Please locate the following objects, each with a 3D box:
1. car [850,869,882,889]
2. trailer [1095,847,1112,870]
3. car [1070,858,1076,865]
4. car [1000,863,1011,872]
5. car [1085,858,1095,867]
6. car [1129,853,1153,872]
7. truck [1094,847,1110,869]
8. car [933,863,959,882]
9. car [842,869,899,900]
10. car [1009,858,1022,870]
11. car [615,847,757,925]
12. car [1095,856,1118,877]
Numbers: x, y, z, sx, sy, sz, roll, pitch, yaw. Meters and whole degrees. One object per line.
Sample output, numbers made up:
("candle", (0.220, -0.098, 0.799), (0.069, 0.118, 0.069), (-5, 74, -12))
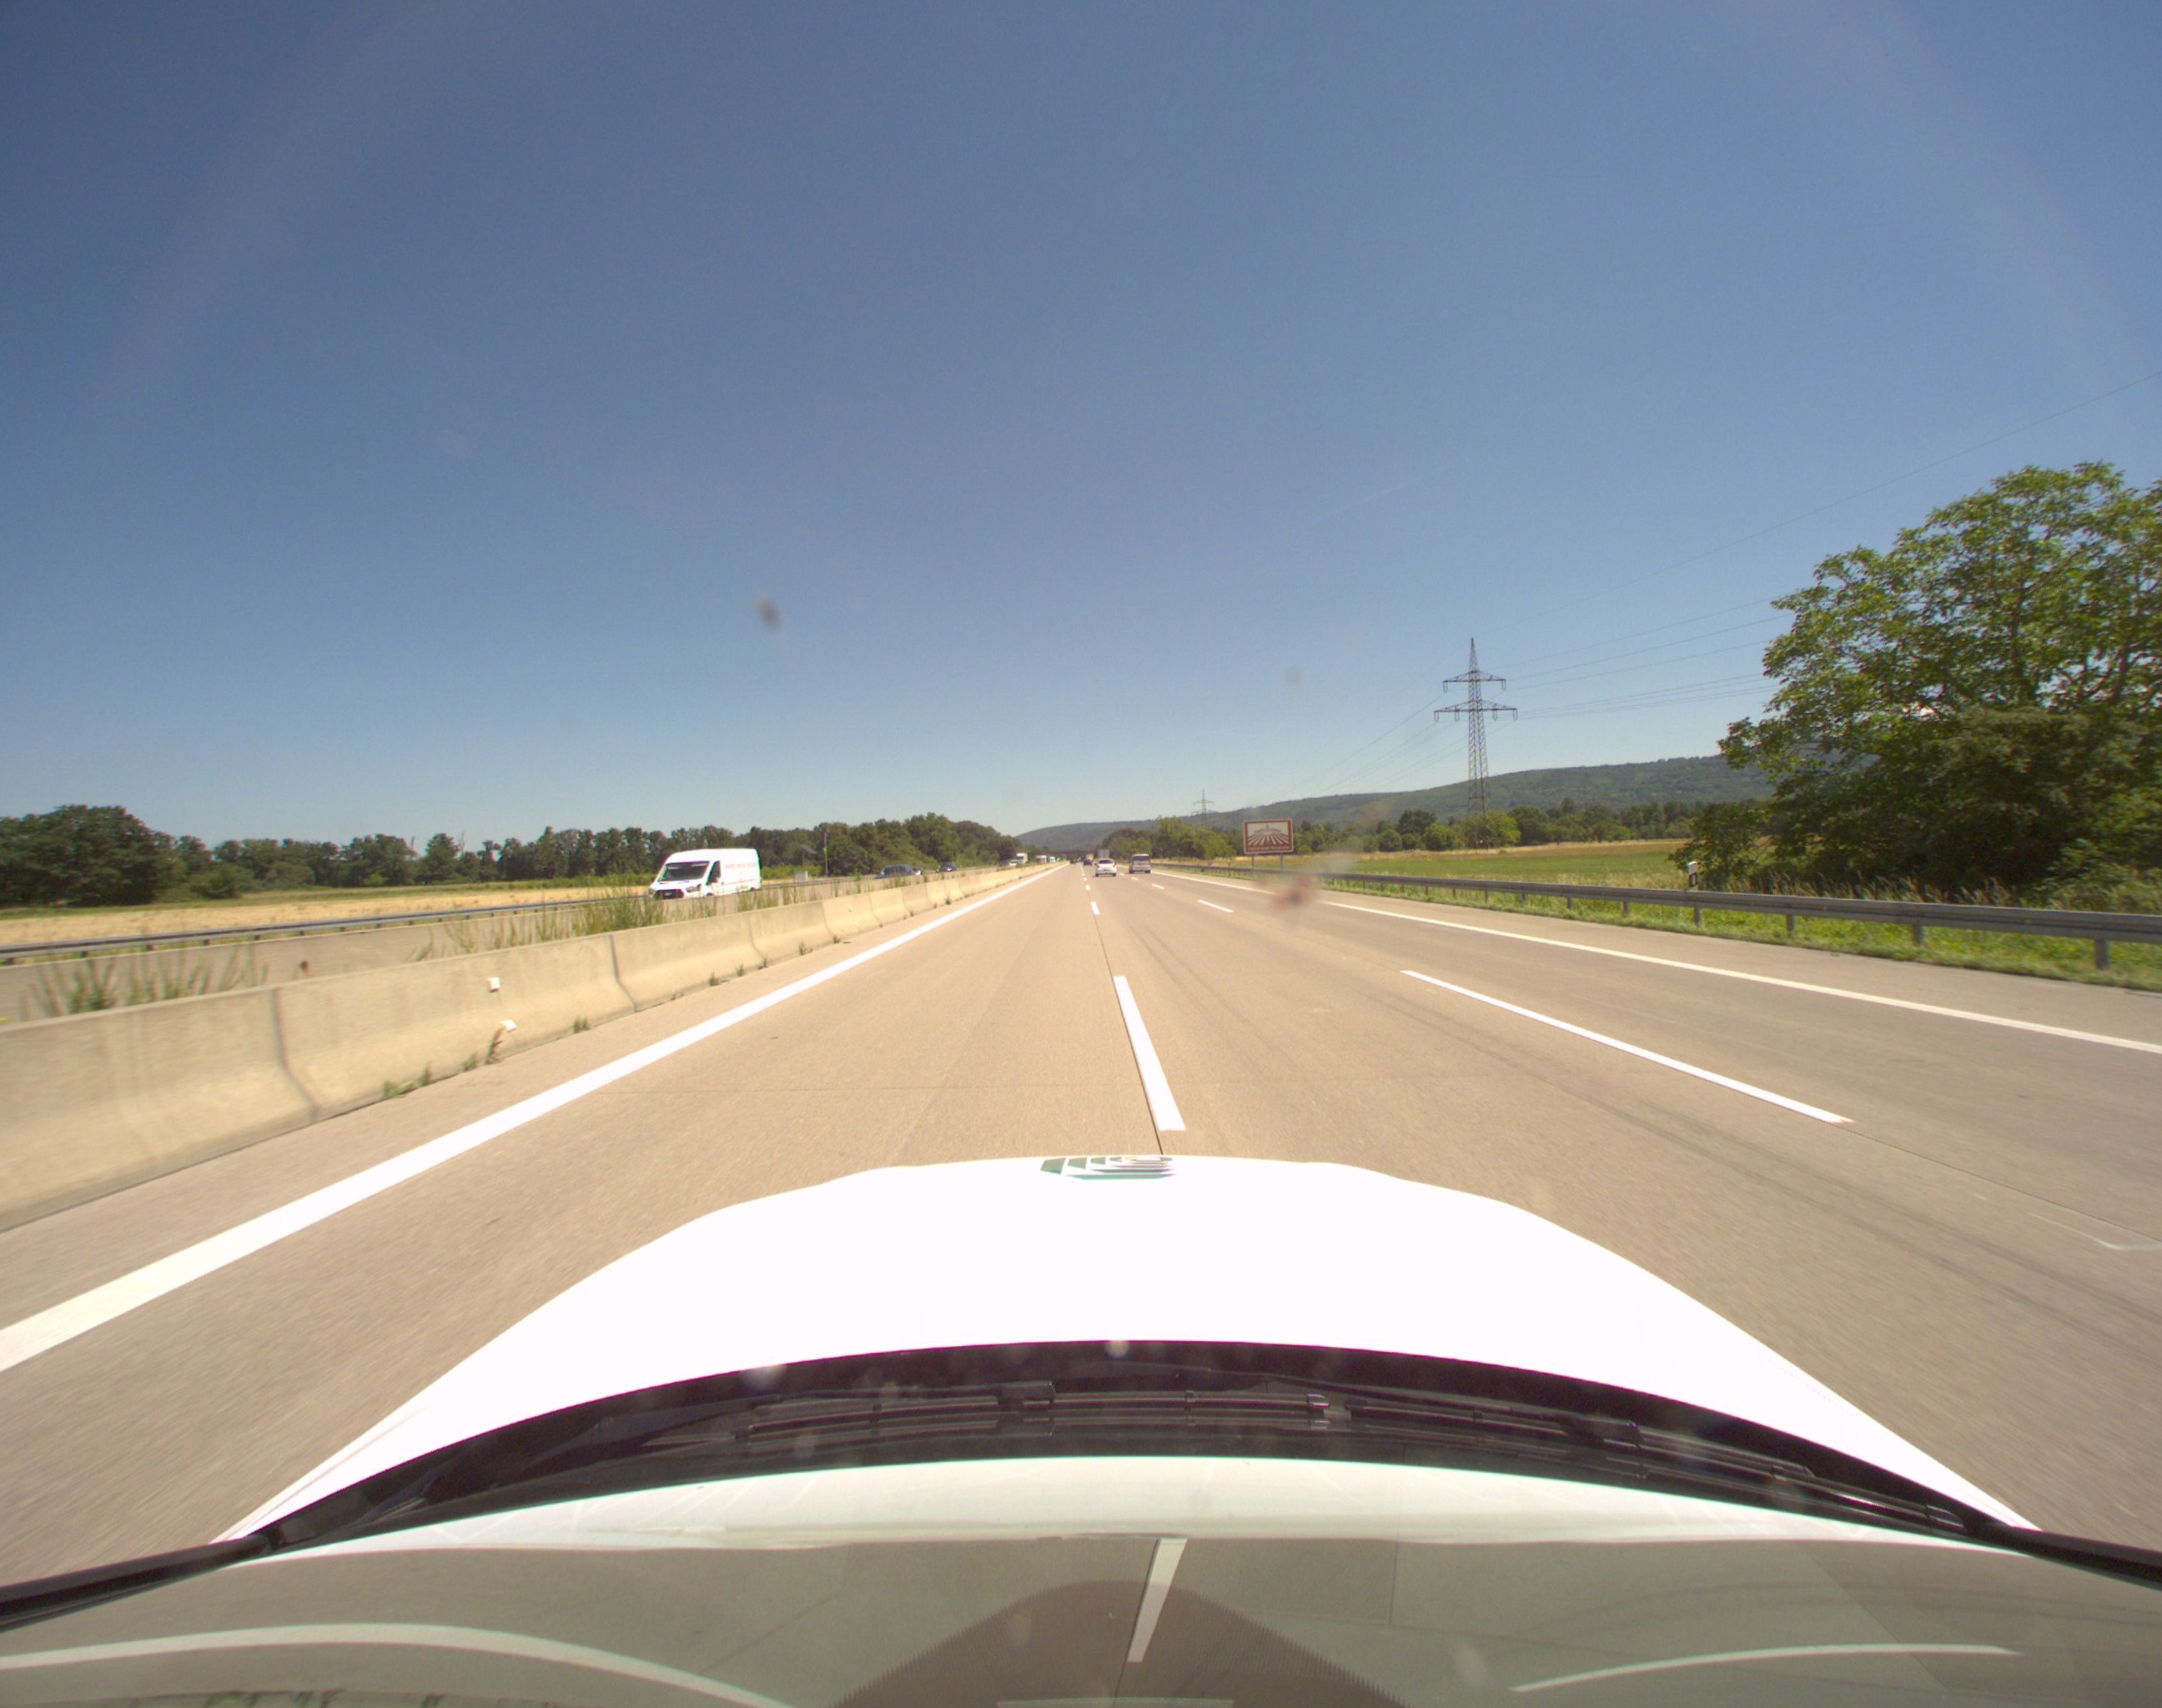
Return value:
("car", (-20.288, 2.354, 76.966), (1.988, 1.783, 3.997), (0, 0, -2))
("trailer", (5.743, 1.098, 210.093), (3.711, 5.811, 12.153), (0, 0, -2))
("car", (-2.376, 2.171, 238.715), (1.923, 1.794, 3.998), (0, 0, -1))
("car", (-15.306, 2.752, 164.413), (1.989, 1.838, 4.811), (0, 0, -3))
("car", (1.959, 1.740, 176.327), (1.988, 1.849, 3.997), (1, 0, -2))
("car", (5.984, 0.872, 81.538), (1.988, 1.849, 3.998), (0, 0, -1))
("truck", (5.581, 1.118, 215.755), (3.711, 5.811, 7.049), (0, 0, -2))
("car", (-14.921, 2.024, 90.101), (1.986, 1.915, 4.403), (0, 0, 1))
("car", (-12.119, 1.706, 47.207), (1.986, 1.618, 4.589), (0, 0, 2))
("car", (-10.937, 1.687, 136.133), (1.899, 1.860, 4.001), (0, 0, 1))
("car", (-14.113, 1.065, 29.661), (2.205, 2.520, 6.123), (0, 0, 0))
("car", (2.149, 1.061, 69.533), (1.814, 1.662, 3.998), (-1, 0, -1))
